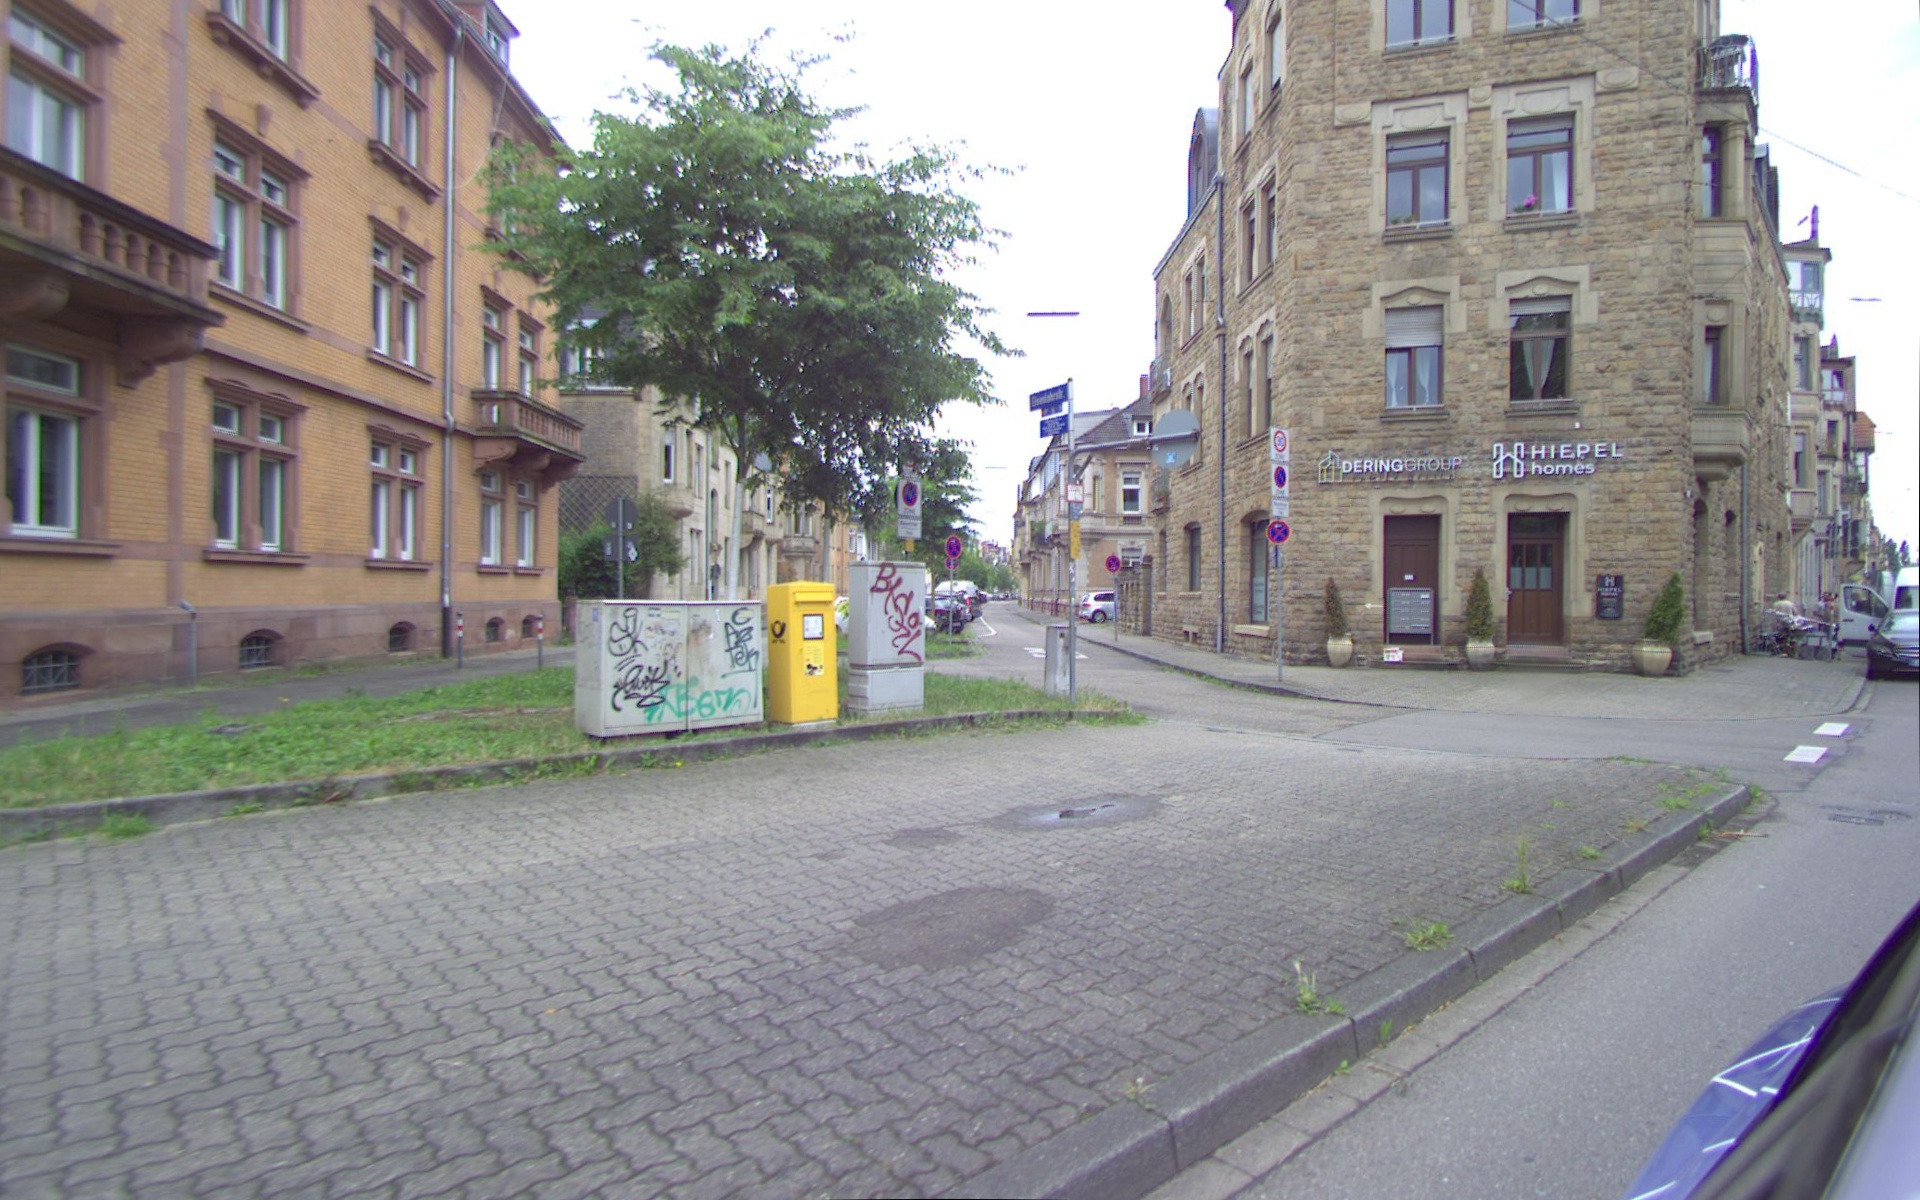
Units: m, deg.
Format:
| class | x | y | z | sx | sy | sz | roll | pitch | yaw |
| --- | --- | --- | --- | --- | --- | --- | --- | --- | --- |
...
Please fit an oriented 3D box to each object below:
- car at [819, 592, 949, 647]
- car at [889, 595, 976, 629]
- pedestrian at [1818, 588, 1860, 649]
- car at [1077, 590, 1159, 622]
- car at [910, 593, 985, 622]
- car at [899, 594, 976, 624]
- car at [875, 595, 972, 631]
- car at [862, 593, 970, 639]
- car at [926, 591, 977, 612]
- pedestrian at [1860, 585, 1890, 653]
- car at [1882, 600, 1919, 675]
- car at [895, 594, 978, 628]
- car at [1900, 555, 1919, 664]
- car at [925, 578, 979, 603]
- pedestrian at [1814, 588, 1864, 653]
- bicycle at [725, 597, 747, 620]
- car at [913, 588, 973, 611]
| class | x | y | z | sx | sy | sz | roll | pitch | yaw |
| --- | --- | --- | --- | --- | --- | --- | --- | --- | --- |
| car | -2.262 | 0.537 | 29.917 | 3.516 | 1.451 | 1.688 | 2 | 1 | 33 |
| car | -1.341 | 0.552 | 48.460 | 4.022 | 1.451 | 1.731 | 2 | 1 | 38 |
| pedestrian | 25.157 | 0.521 | 28.963 | 0.695 | 1.721 | 0.490 | 2 | 1 | 17 |
| car | 8.067 | 0.292 | 51.843 | 3.971 | 1.451 | 1.753 | 1 | 1 | 4 |
| car | -0.735 | 0.392 | 58.109 | 4.022 | 1.529 | 1.861 | 2 | 1 | 38 |
| car | -1.266 | 0.470 | 55.180 | 4.022 | 1.451 | 1.731 | 2 | 1 | 38 |
| car | -1.644 | 0.536 | 45.245 | 4.009 | 1.451 | 1.737 | 2 | 1 | 30 |
| car | -1.559 | 0.512 | 35.494 | 3.520 | 1.451 | 1.686 | 2 | 1 | 35 |
| car | -0.673 | 0.117 | 75.594 | 1.851 | 1.529 | 4.044 | 0 | 1 | -34 |
| pedestrian | 25.211 | 0.518 | 27.881 | 0.790 | 1.837 | 0.499 | 1 | 2 | -45 |
| car | 20.997 | 0.746 | 21.543 | 1.824 | 1.468 | 4.926 | -1 | -1 | 45 |
| car | -1.231 | 0.520 | 51.690 | 4.022 | 1.551 | 1.731 | 2 | 1 | 38 |
| car | 25.580 | 0.204 | 25.875 | 2.013 | 2.581 | 6.904 | -2 | -2 | 44 |
| car | -0.814 | -0.990 | 103.273 | 5.296 | 2.534 | 2.316 | 1 | 0 | 38 |
| pedestrian | 23.889 | 0.545 | 27.520 | 0.858 | 1.721 | 0.532 | 3 | 1 | 30 |
| bicycle | -10.445 | 0.380 | 47.257 | 0.558 | 1.015 | 1.777 | 0 | 0 | 4 |
| car | -1.620 | -0.047 | 94.198 | 5.296 | 2.048 | 2.316 | 1 | 1 | 38 |
